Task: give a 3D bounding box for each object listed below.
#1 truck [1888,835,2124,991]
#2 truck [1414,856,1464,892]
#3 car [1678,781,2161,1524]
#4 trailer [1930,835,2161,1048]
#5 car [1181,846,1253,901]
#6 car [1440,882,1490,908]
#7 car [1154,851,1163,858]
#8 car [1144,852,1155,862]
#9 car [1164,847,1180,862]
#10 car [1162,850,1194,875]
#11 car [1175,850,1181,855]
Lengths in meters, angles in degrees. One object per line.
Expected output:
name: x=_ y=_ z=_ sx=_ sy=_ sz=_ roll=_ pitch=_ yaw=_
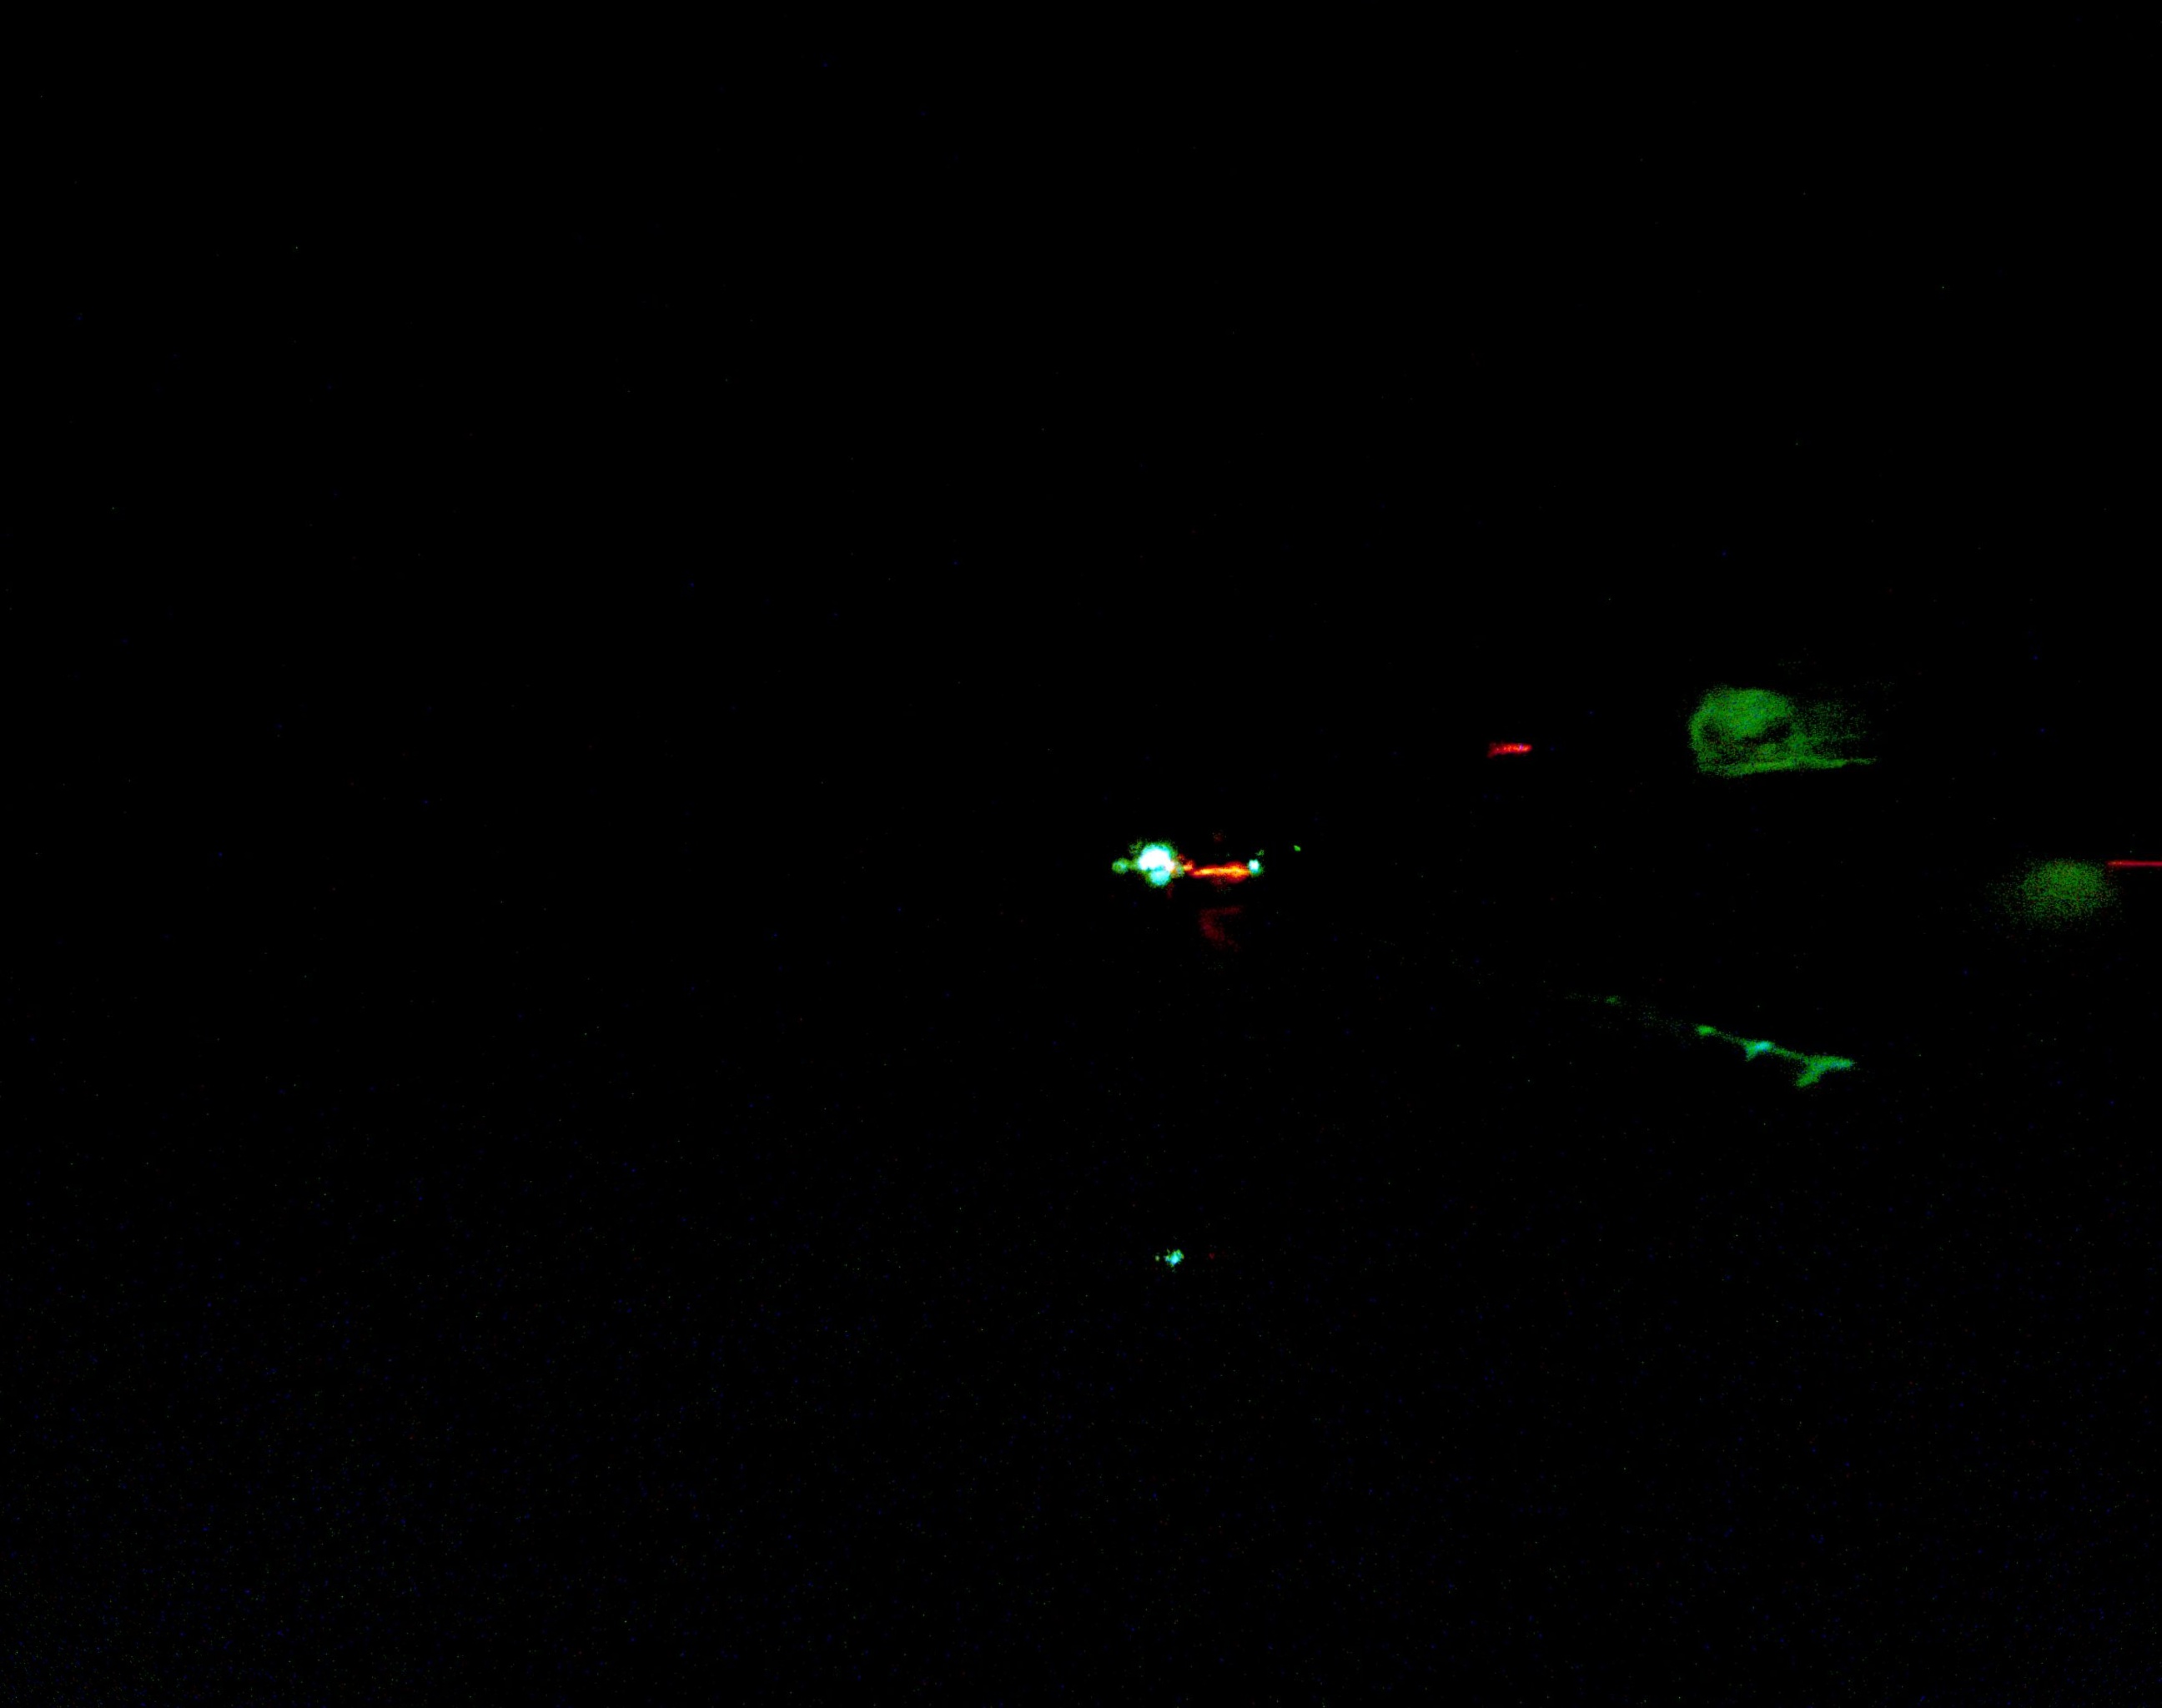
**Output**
truck: x=32.357 y=1.746 z=27.081 sx=3.329 sy=4.768 sz=7.333 roll=-1 pitch=1 yaw=34
truck: x=37.709 y=2.014 z=80.282 sx=2.761 sy=3.462 sz=8.111 roll=-1 pitch=0 yaw=11
car: x=3.581 y=0.706 z=1.009 sx=1.998 sy=1.795 sz=4.595 roll=-1 pitch=1 yaw=1
trailer: x=28.551 y=1.891 z=21.448 sx=3.329 sy=4.768 sz=11.577 roll=-1 pitch=1 yaw=34
car: x=4.534 y=0.600 z=25.886 sx=1.812 sy=1.666 sz=4.293 roll=-1 pitch=1 yaw=2
car: x=28.525 y=3.030 z=56.515 sx=1.812 sy=1.666 sz=4.294 roll=-1 pitch=1 yaw=5
car: x=18.311 y=0.122 z=179.675 sx=1.782 sy=1.565 sz=4.002 roll=-1 pitch=1 yaw=8
car: x=11.760 y=0.561 z=130.577 sx=1.823 sy=1.565 sz=4.108 roll=-1 pitch=1 yaw=7
car: x=9.451 y=0.032 z=78.746 sx=1.639 sy=1.511 sz=3.772 roll=0 pitch=1 yaw=8
car: x=6.137 y=0.530 z=48.394 sx=1.789 sy=1.470 sz=3.680 roll=-1 pitch=1 yaw=3
car: x=27.971 y=-0.454 z=218.809 sx=1.782 sy=1.565 sz=4.002 roll=-1 pitch=1 yaw=8
